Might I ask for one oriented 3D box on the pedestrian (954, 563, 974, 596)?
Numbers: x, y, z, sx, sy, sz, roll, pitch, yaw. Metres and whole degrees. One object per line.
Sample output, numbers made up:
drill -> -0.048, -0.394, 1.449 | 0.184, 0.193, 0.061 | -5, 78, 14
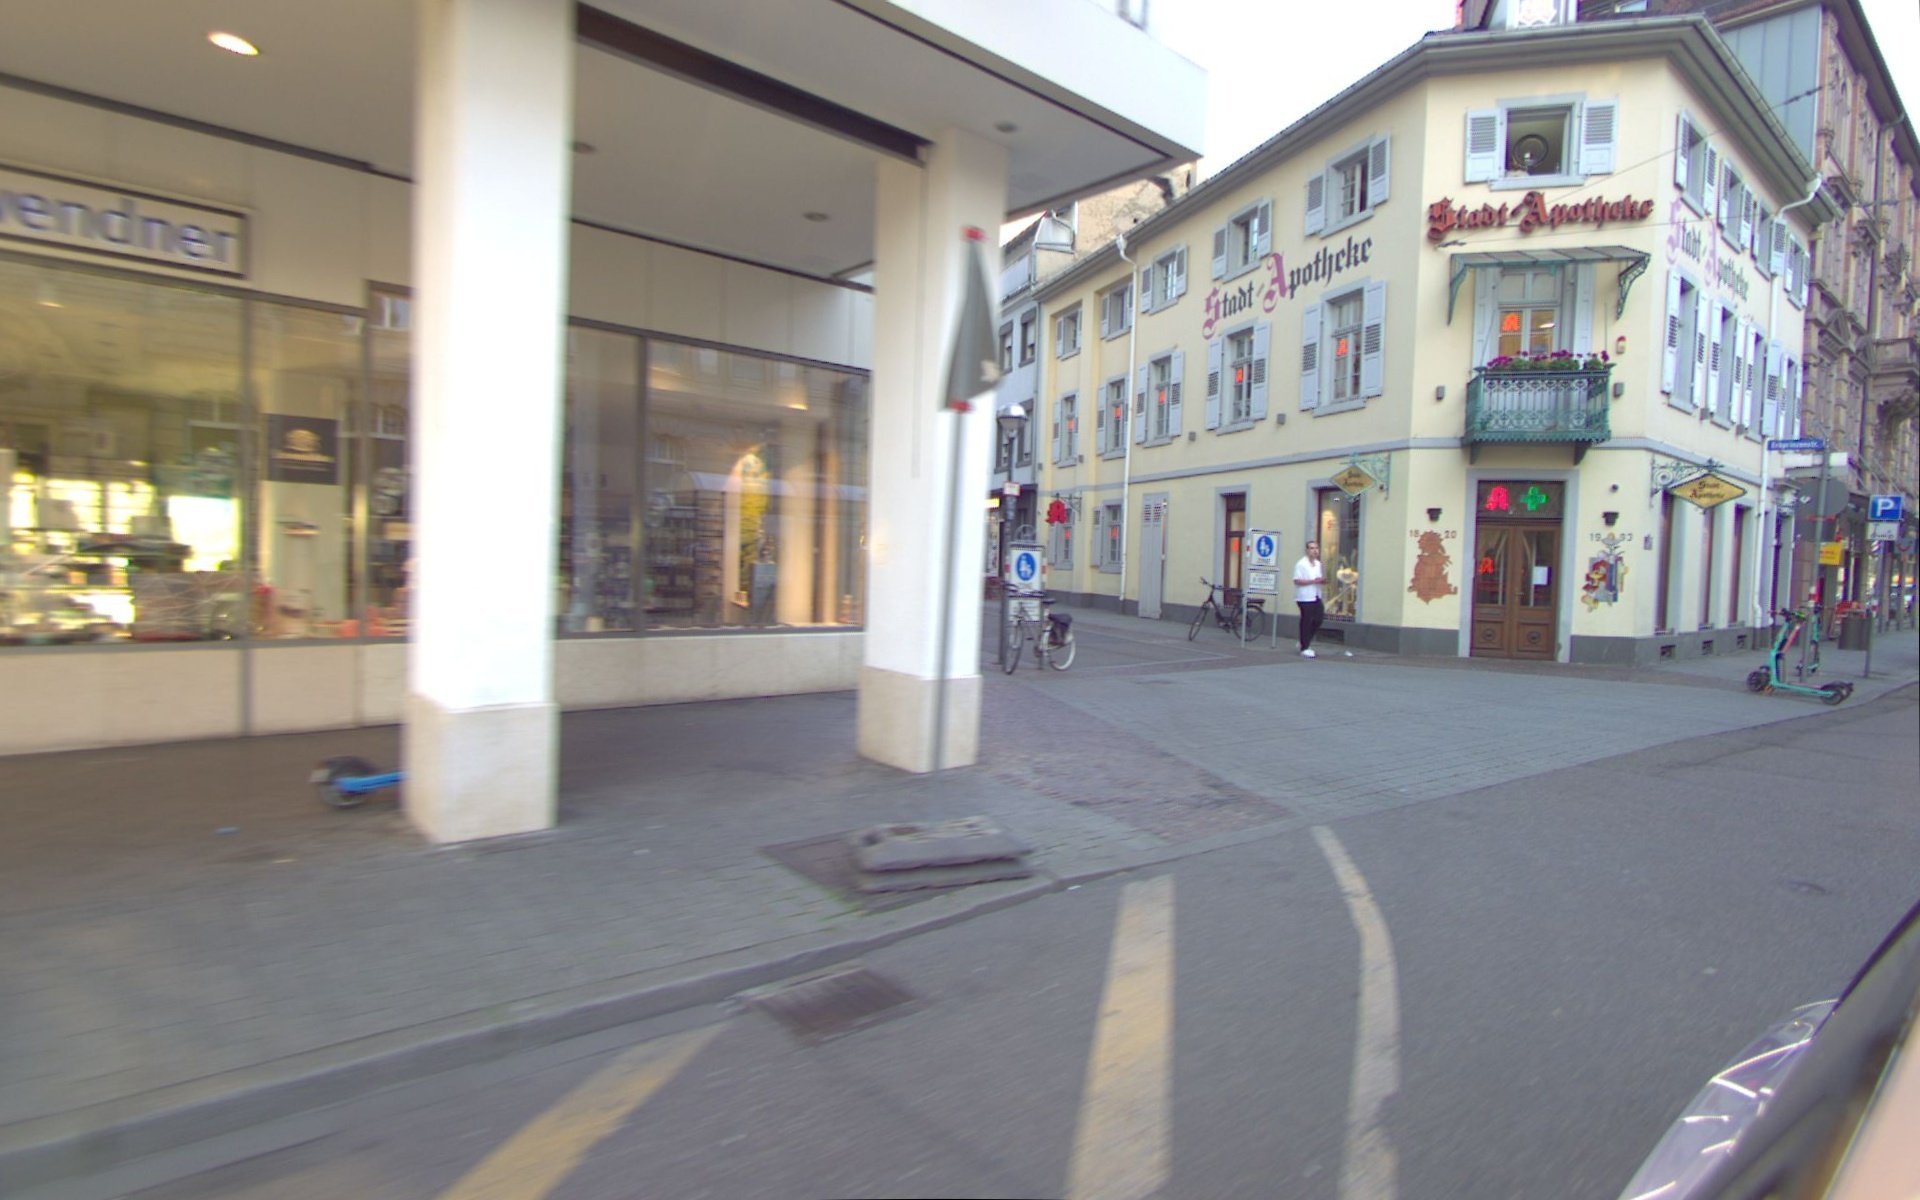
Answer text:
pedestrian -> 0.150, -0.745, 36.004 | 0.553, 1.137, 0.526 | 2, 1, -17

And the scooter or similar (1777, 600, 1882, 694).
scooter or similar -> 12.289, 0.654, 14.322 | 1.034, 1.249, 0.271 | 3, 3, 18

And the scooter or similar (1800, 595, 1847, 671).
scooter or similar -> 14.757, 0.544, 17.279 | 1.283, 1.249, 0.272 | 0, 4, -37

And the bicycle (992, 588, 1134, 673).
bicycle -> 1.379, 0.400, 13.355 | 1.812, 1.042, 0.771 | 2, 0, -38

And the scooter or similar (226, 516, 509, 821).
scooter or similar -> -3.201, 0.329, 5.533 | 1.292, 1.507, 0.314 | 0, 2, -41

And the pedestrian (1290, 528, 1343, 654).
pedestrian -> 5.950, -0.159, 16.891 | 0.634, 2.038, 0.542 | 0, 2, -44

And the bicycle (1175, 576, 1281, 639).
bicycle -> 5.181, 0.140, 19.621 | 1.808, 1.196, 0.773 | 0, 1, -10

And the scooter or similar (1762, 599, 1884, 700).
scooter or similar -> 11.787, 0.646, 13.854 | 0.310, 1.249, 1.182 | 1, 3, -24
